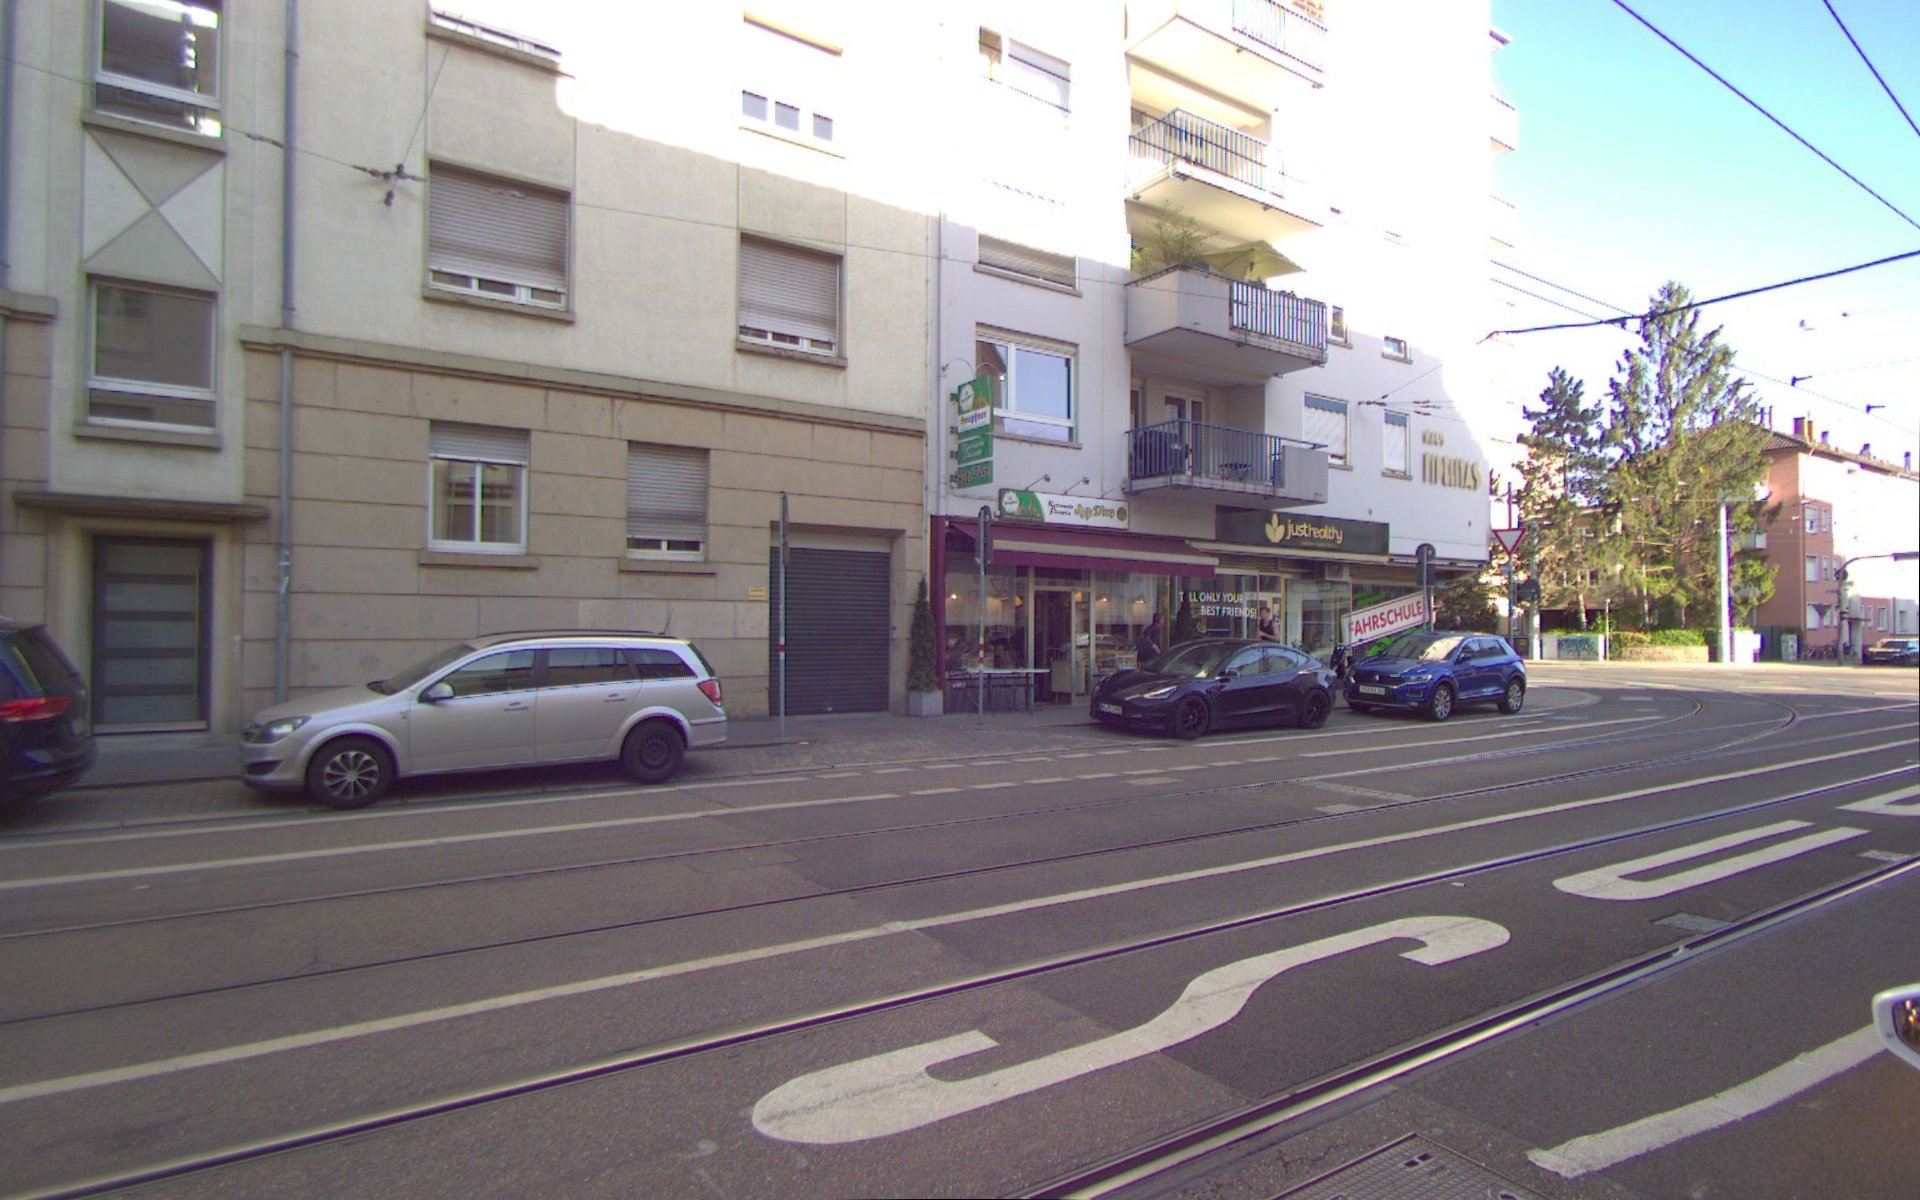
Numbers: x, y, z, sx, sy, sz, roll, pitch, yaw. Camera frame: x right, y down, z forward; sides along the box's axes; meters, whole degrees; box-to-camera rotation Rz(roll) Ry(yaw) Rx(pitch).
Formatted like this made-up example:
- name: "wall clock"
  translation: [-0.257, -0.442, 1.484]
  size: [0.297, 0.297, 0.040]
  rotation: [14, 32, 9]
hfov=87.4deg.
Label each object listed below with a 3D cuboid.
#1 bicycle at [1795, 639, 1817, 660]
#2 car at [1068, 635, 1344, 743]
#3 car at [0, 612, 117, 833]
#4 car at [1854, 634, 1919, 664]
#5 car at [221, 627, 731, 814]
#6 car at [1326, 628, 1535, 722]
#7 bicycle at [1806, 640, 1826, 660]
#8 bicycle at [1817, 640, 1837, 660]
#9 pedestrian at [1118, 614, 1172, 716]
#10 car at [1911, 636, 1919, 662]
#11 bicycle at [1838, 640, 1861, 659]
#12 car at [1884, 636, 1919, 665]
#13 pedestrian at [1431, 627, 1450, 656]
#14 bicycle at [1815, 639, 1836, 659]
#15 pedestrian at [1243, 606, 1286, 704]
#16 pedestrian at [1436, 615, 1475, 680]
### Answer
- name: "bicycle"
  translation: [46.870, 2.726, 55.616]
  size: [1.895, 1.097, 0.634]
  rotation: [2, -2, -41]
- name: "car"
  translation: [3.998, 1.316, 16.026]
  size: [4.442, 1.422, 1.714]
  rotation: [1, 1, -34]
- name: "car"
  translation: [-9.008, 0.881, 7.176]
  size: [4.343, 1.620, 1.785]
  rotation: [1, -1, -34]
- name: "car"
  translation: [49.712, 2.617, 53.766]
  size: [3.961, 1.539, 1.938]
  rotation: [1, -2, -36]
- name: "car"
  translation: [-4.721, 1.050, 10.197]
  size: [4.343, 1.497, 1.785]
  rotation: [1, -1, -34]
- name: "car"
  translation: [8.978, 1.346, 19.068]
  size: [4.072, 1.525, 1.714]
  rotation: [1, 1, -34]
- name: "bicycle"
  translation: [47.165, 2.736, 55.324]
  size: [1.895, 1.097, 0.532]
  rotation: [2, -2, -41]
- name: "bicycle"
  translation: [47.593, 2.748, 55.148]
  size: [1.895, 1.097, 0.532]
  rotation: [2, -2, -41]
- name: "pedestrian"
  translation: [3.233, 1.122, 17.566]
  size: [0.722, 1.731, 0.600]
  rotation: [1, -2, -32]
- name: "car"
  translation: [58.115, 2.898, 59.435]
  size: [3.961, 1.539, 1.938]
  rotation: [1, -2, -36]
- name: "bicycle"
  translation: [53.145, 2.939, 60.009]
  size: [1.892, 1.097, 0.605]
  rotation: [1, -2, -37]
- name: "car"
  translation: [54.261, 2.841, 56.996]
  size: [4.006, 1.539, 1.938]
  rotation: [1, -2, -36]
- name: "pedestrian"
  translation: [29.403, 2.545, 61.480]
  size: [0.672, 1.725, 0.805]
  rotation: [1, -2, -30]
- name: "bicycle"
  translation: [50.728, 2.862, 58.864]
  size: [1.892, 1.097, 0.533]
  rotation: [1, -2, -37]
- name: "pedestrian"
  translation: [5.973, 1.069, 19.741]
  size: [0.658, 1.882, 0.754]
  rotation: [0, -1, 6]
- name: "pedestrian"
  translation: [14.227, 1.362, 28.848]
  size: [0.707, 1.859, 0.771]
  rotation: [0, -1, -3]
